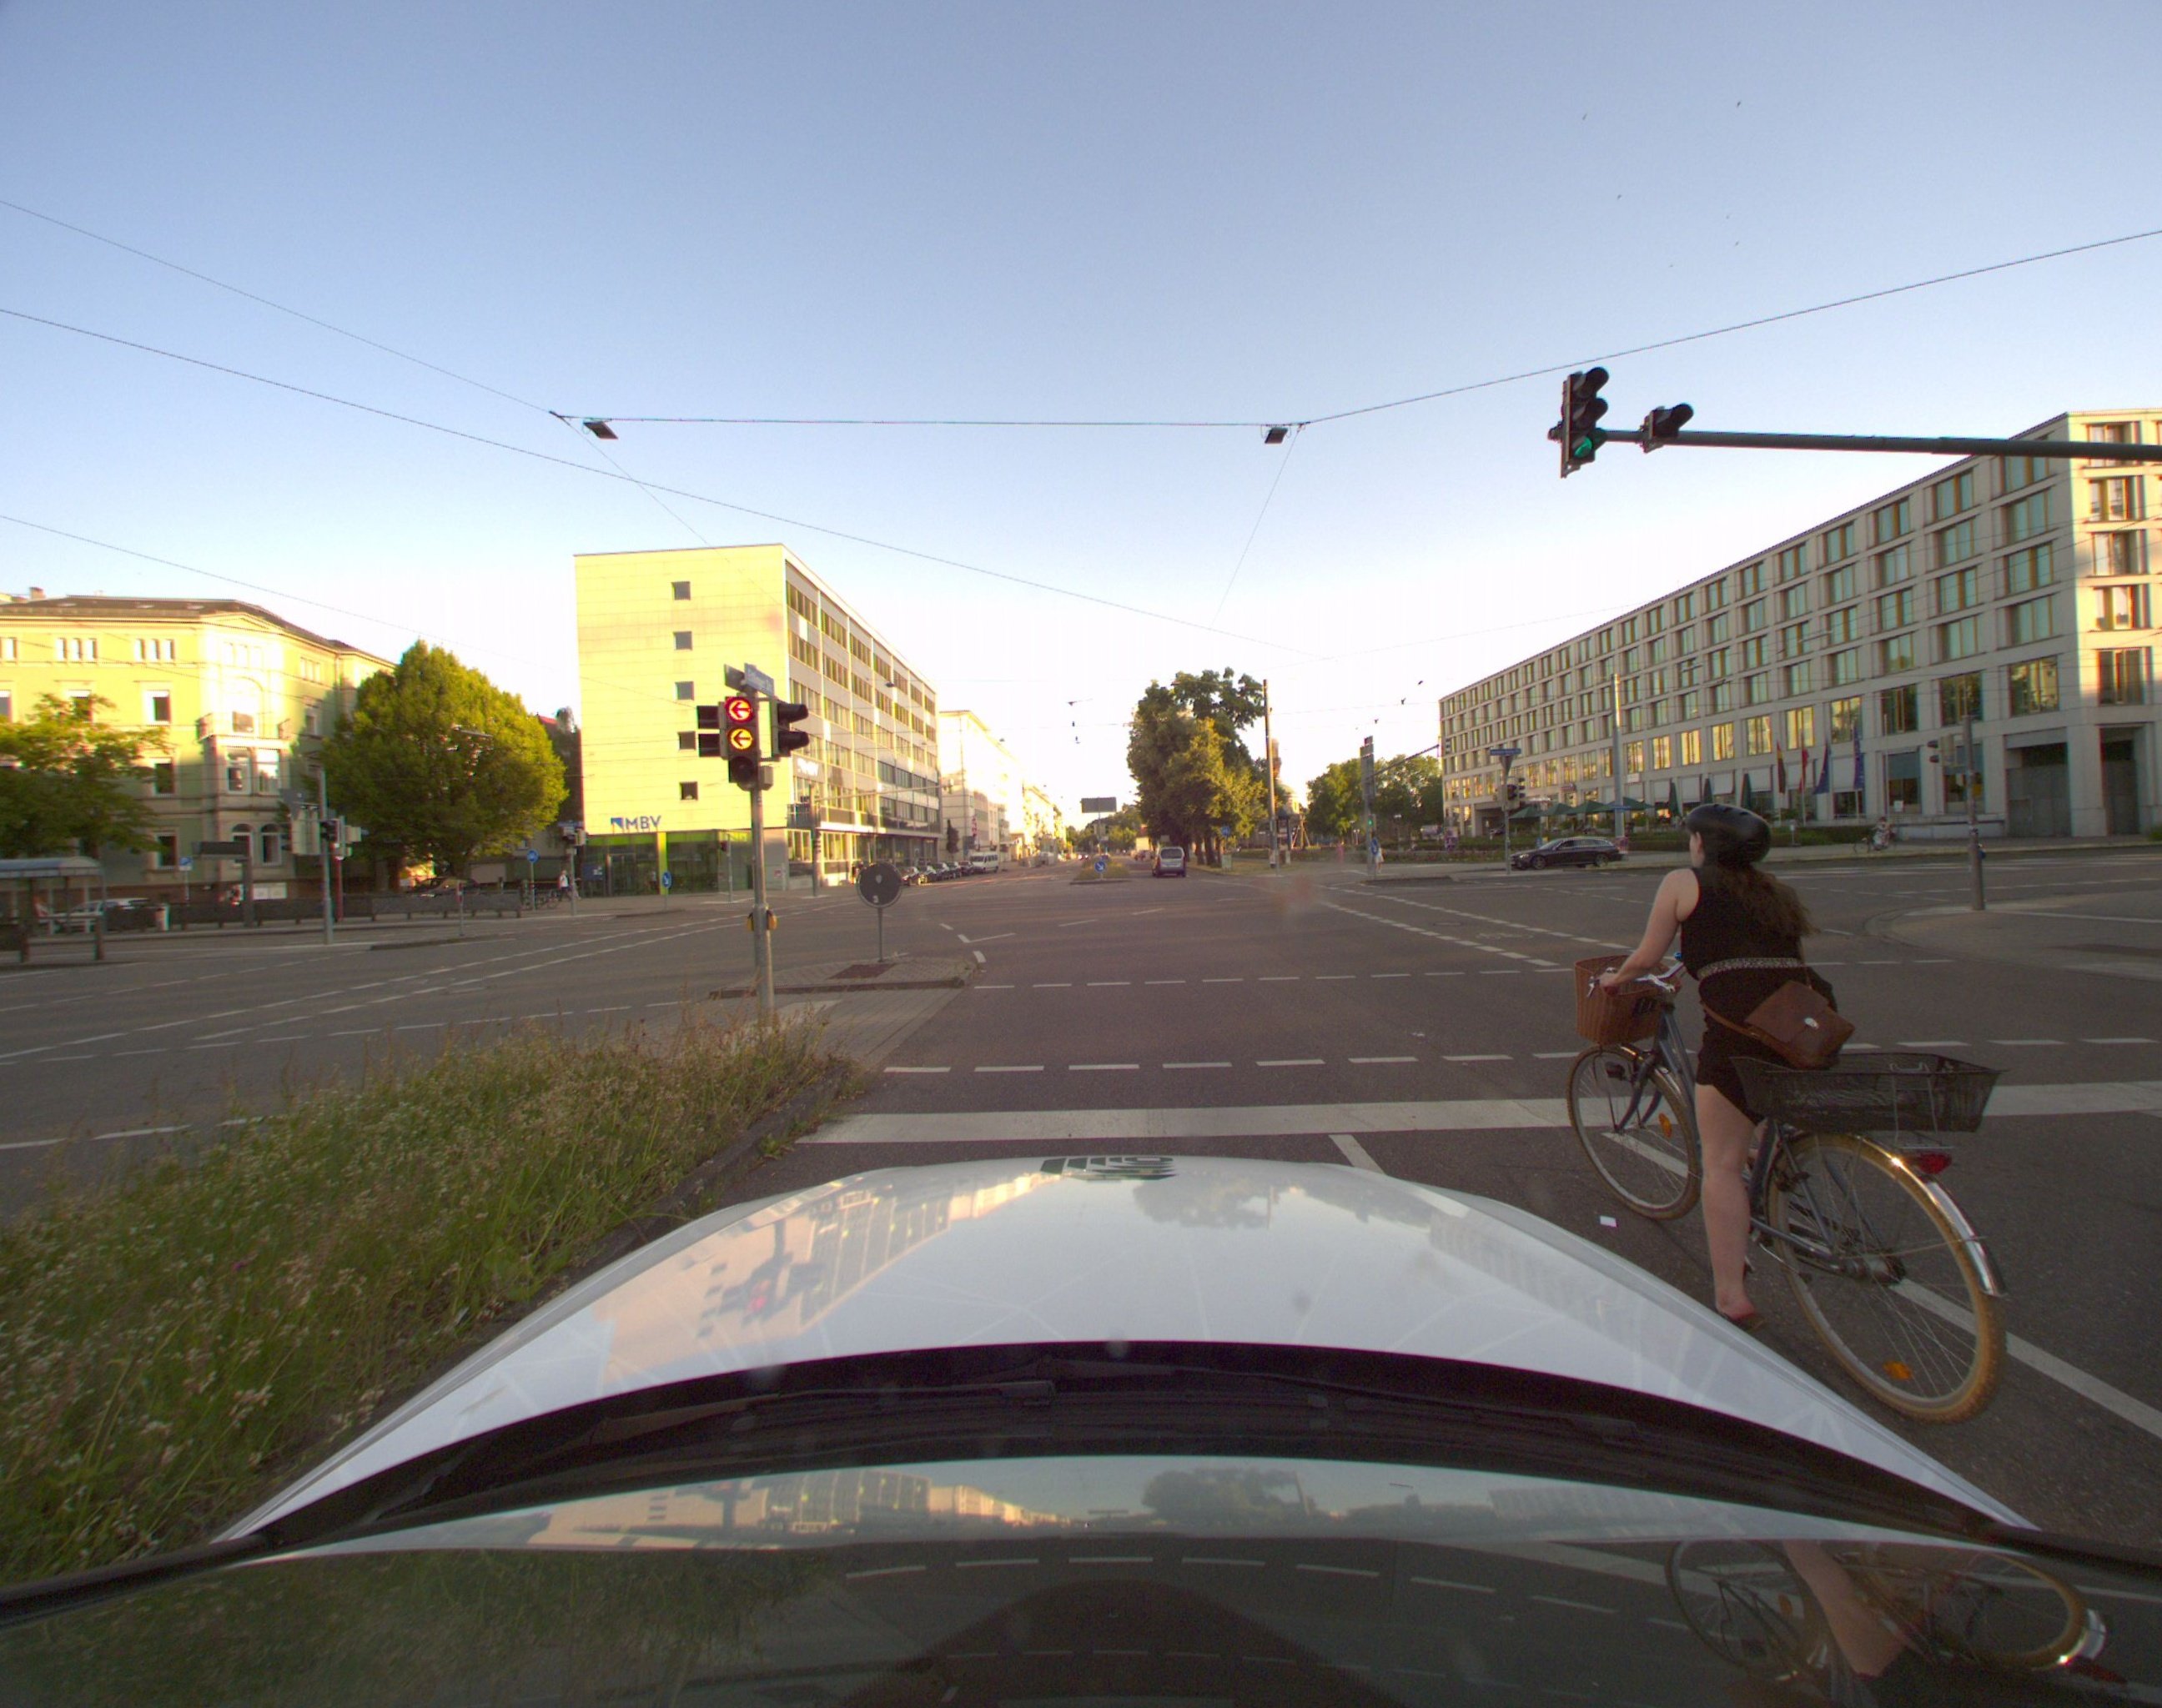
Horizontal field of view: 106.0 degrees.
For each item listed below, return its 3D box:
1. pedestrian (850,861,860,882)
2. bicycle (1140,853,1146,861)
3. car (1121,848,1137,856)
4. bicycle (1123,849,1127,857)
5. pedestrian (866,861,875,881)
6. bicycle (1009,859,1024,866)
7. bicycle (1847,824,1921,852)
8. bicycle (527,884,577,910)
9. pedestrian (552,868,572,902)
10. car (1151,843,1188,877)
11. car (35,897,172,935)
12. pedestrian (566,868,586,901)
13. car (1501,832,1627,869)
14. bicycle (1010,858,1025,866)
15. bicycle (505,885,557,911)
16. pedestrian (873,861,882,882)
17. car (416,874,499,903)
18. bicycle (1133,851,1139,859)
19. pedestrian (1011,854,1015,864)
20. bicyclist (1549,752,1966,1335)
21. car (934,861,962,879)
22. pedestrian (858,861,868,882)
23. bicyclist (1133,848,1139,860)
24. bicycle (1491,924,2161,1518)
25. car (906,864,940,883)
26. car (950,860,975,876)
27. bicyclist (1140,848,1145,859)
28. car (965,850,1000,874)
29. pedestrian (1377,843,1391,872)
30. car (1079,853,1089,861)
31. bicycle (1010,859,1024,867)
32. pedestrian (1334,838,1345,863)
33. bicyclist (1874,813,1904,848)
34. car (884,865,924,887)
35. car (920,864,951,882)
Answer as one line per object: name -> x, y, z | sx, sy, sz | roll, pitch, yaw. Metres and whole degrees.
pedestrian -> -18.430, 1.458, 66.394 | 0.549, 1.679, 0.500 | -3, 0, 1
bicycle -> 9.269, 0.438, 122.601 | 0.744, 1.144, 2.506 | -3, 0, 2
car -> 12.598, -0.487, 214.259 | 3.977, 2.013, 1.998 | -3, 0, -3
bicycle -> 11.450, -0.214, 211.538 | 0.892, 2.013, 4.002 | -3, 0, 2
pedestrian -> -17.346, 1.398, 67.096 | 0.498, 1.679, 0.500 | -3, 0, 1
bicycle -> -10.002, 1.317, 125.793 | 2.198, 1.112, 0.619 | -3, 0, 0
bicycle -> 36.543, -0.725, 37.066 | 2.762, 1.106, 0.602 | -3, 0, -1
bicycle -> -25.858, 2.098, 39.857 | 0.832, 1.112, 2.216 | -3, 0, 6
pedestrian -> -28.540, 1.688, 44.818 | 0.641, 1.790, 0.720 | -3, 0, -12
car -> 5.411, 0.355, 50.240 | 1.757, 1.888, 4.499 | -3, 0, 0
car -> -45.140, 2.835, 37.697 | 3.588, 1.372, 1.833 | -3, 0, -15
pedestrian -> -28.286, 1.689, 45.629 | 0.641, 1.790, 0.720 | -3, 0, -12
car -> 23.186, -0.180, 39.210 | 4.803, 1.515, 2.002 | -3, 0, 4
bicycle -> -10.081, 1.307, 129.333 | 2.198, 1.236, 0.839 | -3, 0, 0
bicycle -> -26.787, 2.124, 39.717 | 0.832, 1.112, 2.216 | -3, 0, 6
pedestrian -> -16.679, 1.394, 66.681 | 0.549, 1.679, 0.500 | -3, 0, 1
car -> -35.208, 1.918, 46.102 | 1.830, 1.372, 3.594 | -3, 0, 0
bicycle -> 8.328, 0.211, 122.771 | 0.744, 1.144, 2.506 | -3, 0, 2
pedestrian -> -13.876, 0.999, 165.360 | 0.677, 2.013, 0.545 | -3, 0, 1
bicyclist -> 2.192, 0.534, 2.796 | 0.597, 1.636, 0.999 | -1, 0, 2
car -> -12.856, 1.571, 79.025 | 1.913, 1.568, 4.002 | -3, 0, 2
pedestrian -> -17.977, 1.461, 67.156 | 0.549, 1.679, 0.500 | -3, 0, 1
bicyclist -> 8.300, 0.022, 122.282 | 0.744, 1.663, 0.873 | -3, 0, 1
bicycle -> 2.195, 0.898, 2.801 | 0.609, 1.132, 2.005 | -1, 0, 2
car -> -13.315, 1.643, 68.911 | 1.913, 1.464, 4.002 | -3, 0, 2
car -> -12.388, 1.444, 85.248 | 1.913, 1.568, 4.002 | -3, 0, 2
bicyclist -> 9.241, -0.109, 122.605 | 0.744, 1.691, 0.799 | -3, 0, 1
car -> -11.062, 0.865, 91.683 | 1.988, 2.478, 5.888 | -3, 0, 12
pedestrian -> 16.018, 0.180, 43.048 | 0.489, 1.540, 0.408 | -3, 0, 1
car -> 0.569, 0.528, 159.204 | 1.857, 1.519, 4.000 | -3, 0, 1
bicycle -> -10.010, 1.350, 127.278 | 2.198, 1.112, 0.689 | -3, 0, 0
pedestrian -> 17.204, -0.244, 54.192 | 0.458, 1.656, 0.567 | -3, 0, 1
bicyclist -> 36.789, -1.070, 37.081 | 0.705, 1.537, 0.577 | -3, 0, -1
car -> -13.512, 1.656, 62.380 | 1.913, 1.464, 4.105 | -3, 0, 2
car -> -13.108, 1.681, 73.724 | 1.913, 1.464, 4.002 | -3, 0, 2
